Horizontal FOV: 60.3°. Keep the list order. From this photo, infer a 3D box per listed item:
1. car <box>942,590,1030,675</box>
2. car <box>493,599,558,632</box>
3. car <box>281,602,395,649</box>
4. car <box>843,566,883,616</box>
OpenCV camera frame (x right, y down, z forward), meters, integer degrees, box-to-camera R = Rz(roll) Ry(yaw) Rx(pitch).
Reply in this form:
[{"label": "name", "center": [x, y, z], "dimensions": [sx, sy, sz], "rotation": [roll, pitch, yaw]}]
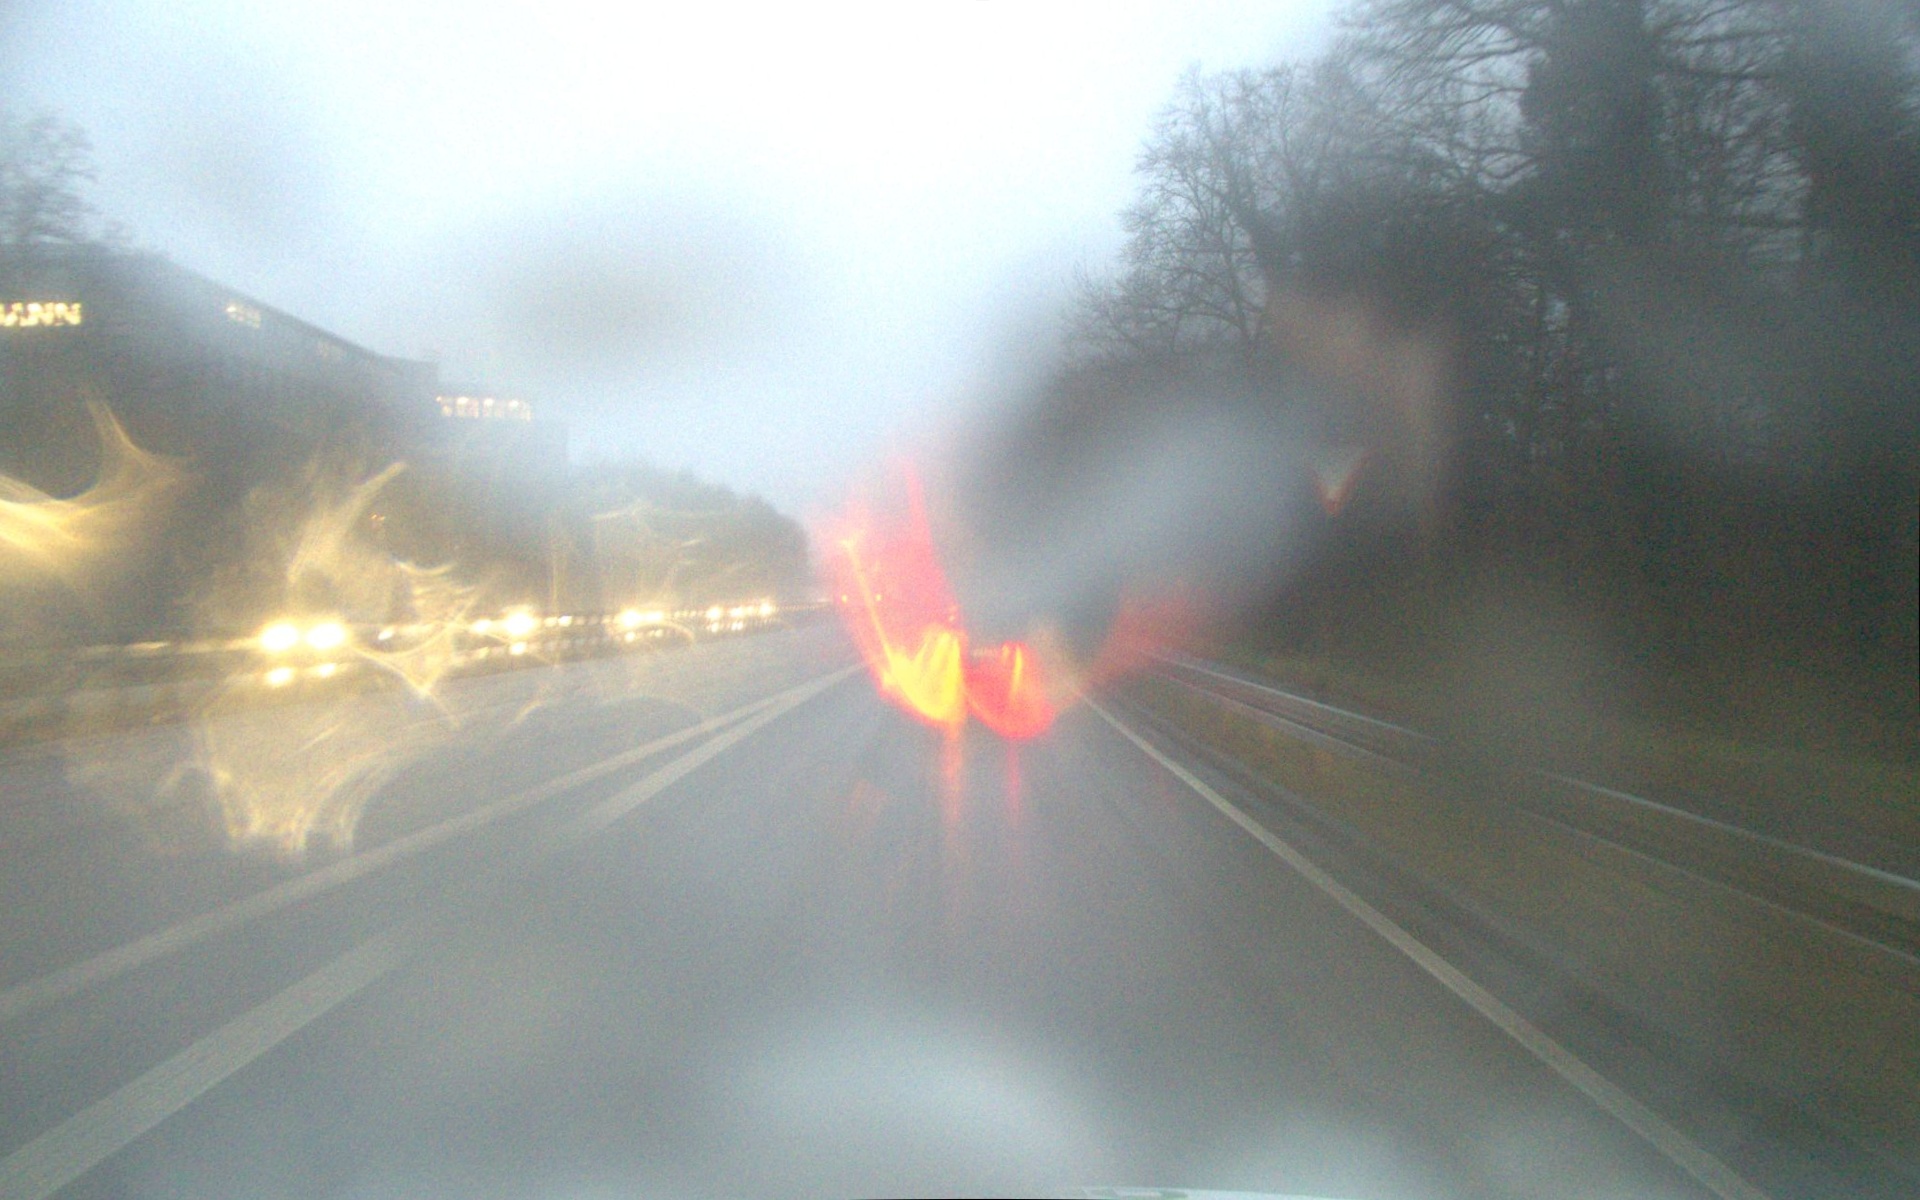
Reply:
[{"label": "car", "center": [0.431, 0.550, 30.417], "dimensions": [1.496, 1.440, 3.478], "rotation": [1, 0, -1]}, {"label": "car", "center": [-18.925, 0.659, 72.151], "dimensions": [1.513, 1.345, 4.259], "rotation": [2, 0, 2]}, {"label": "car", "center": [-19.386, 0.762, 51.738], "dimensions": [1.674, 1.345, 4.474], "rotation": [2, 0, 2]}, {"label": "car", "center": [-5.083, -0.463, 87.093], "dimensions": [1.960, 2.496, 3.998], "rotation": [1, 0, -3]}]
